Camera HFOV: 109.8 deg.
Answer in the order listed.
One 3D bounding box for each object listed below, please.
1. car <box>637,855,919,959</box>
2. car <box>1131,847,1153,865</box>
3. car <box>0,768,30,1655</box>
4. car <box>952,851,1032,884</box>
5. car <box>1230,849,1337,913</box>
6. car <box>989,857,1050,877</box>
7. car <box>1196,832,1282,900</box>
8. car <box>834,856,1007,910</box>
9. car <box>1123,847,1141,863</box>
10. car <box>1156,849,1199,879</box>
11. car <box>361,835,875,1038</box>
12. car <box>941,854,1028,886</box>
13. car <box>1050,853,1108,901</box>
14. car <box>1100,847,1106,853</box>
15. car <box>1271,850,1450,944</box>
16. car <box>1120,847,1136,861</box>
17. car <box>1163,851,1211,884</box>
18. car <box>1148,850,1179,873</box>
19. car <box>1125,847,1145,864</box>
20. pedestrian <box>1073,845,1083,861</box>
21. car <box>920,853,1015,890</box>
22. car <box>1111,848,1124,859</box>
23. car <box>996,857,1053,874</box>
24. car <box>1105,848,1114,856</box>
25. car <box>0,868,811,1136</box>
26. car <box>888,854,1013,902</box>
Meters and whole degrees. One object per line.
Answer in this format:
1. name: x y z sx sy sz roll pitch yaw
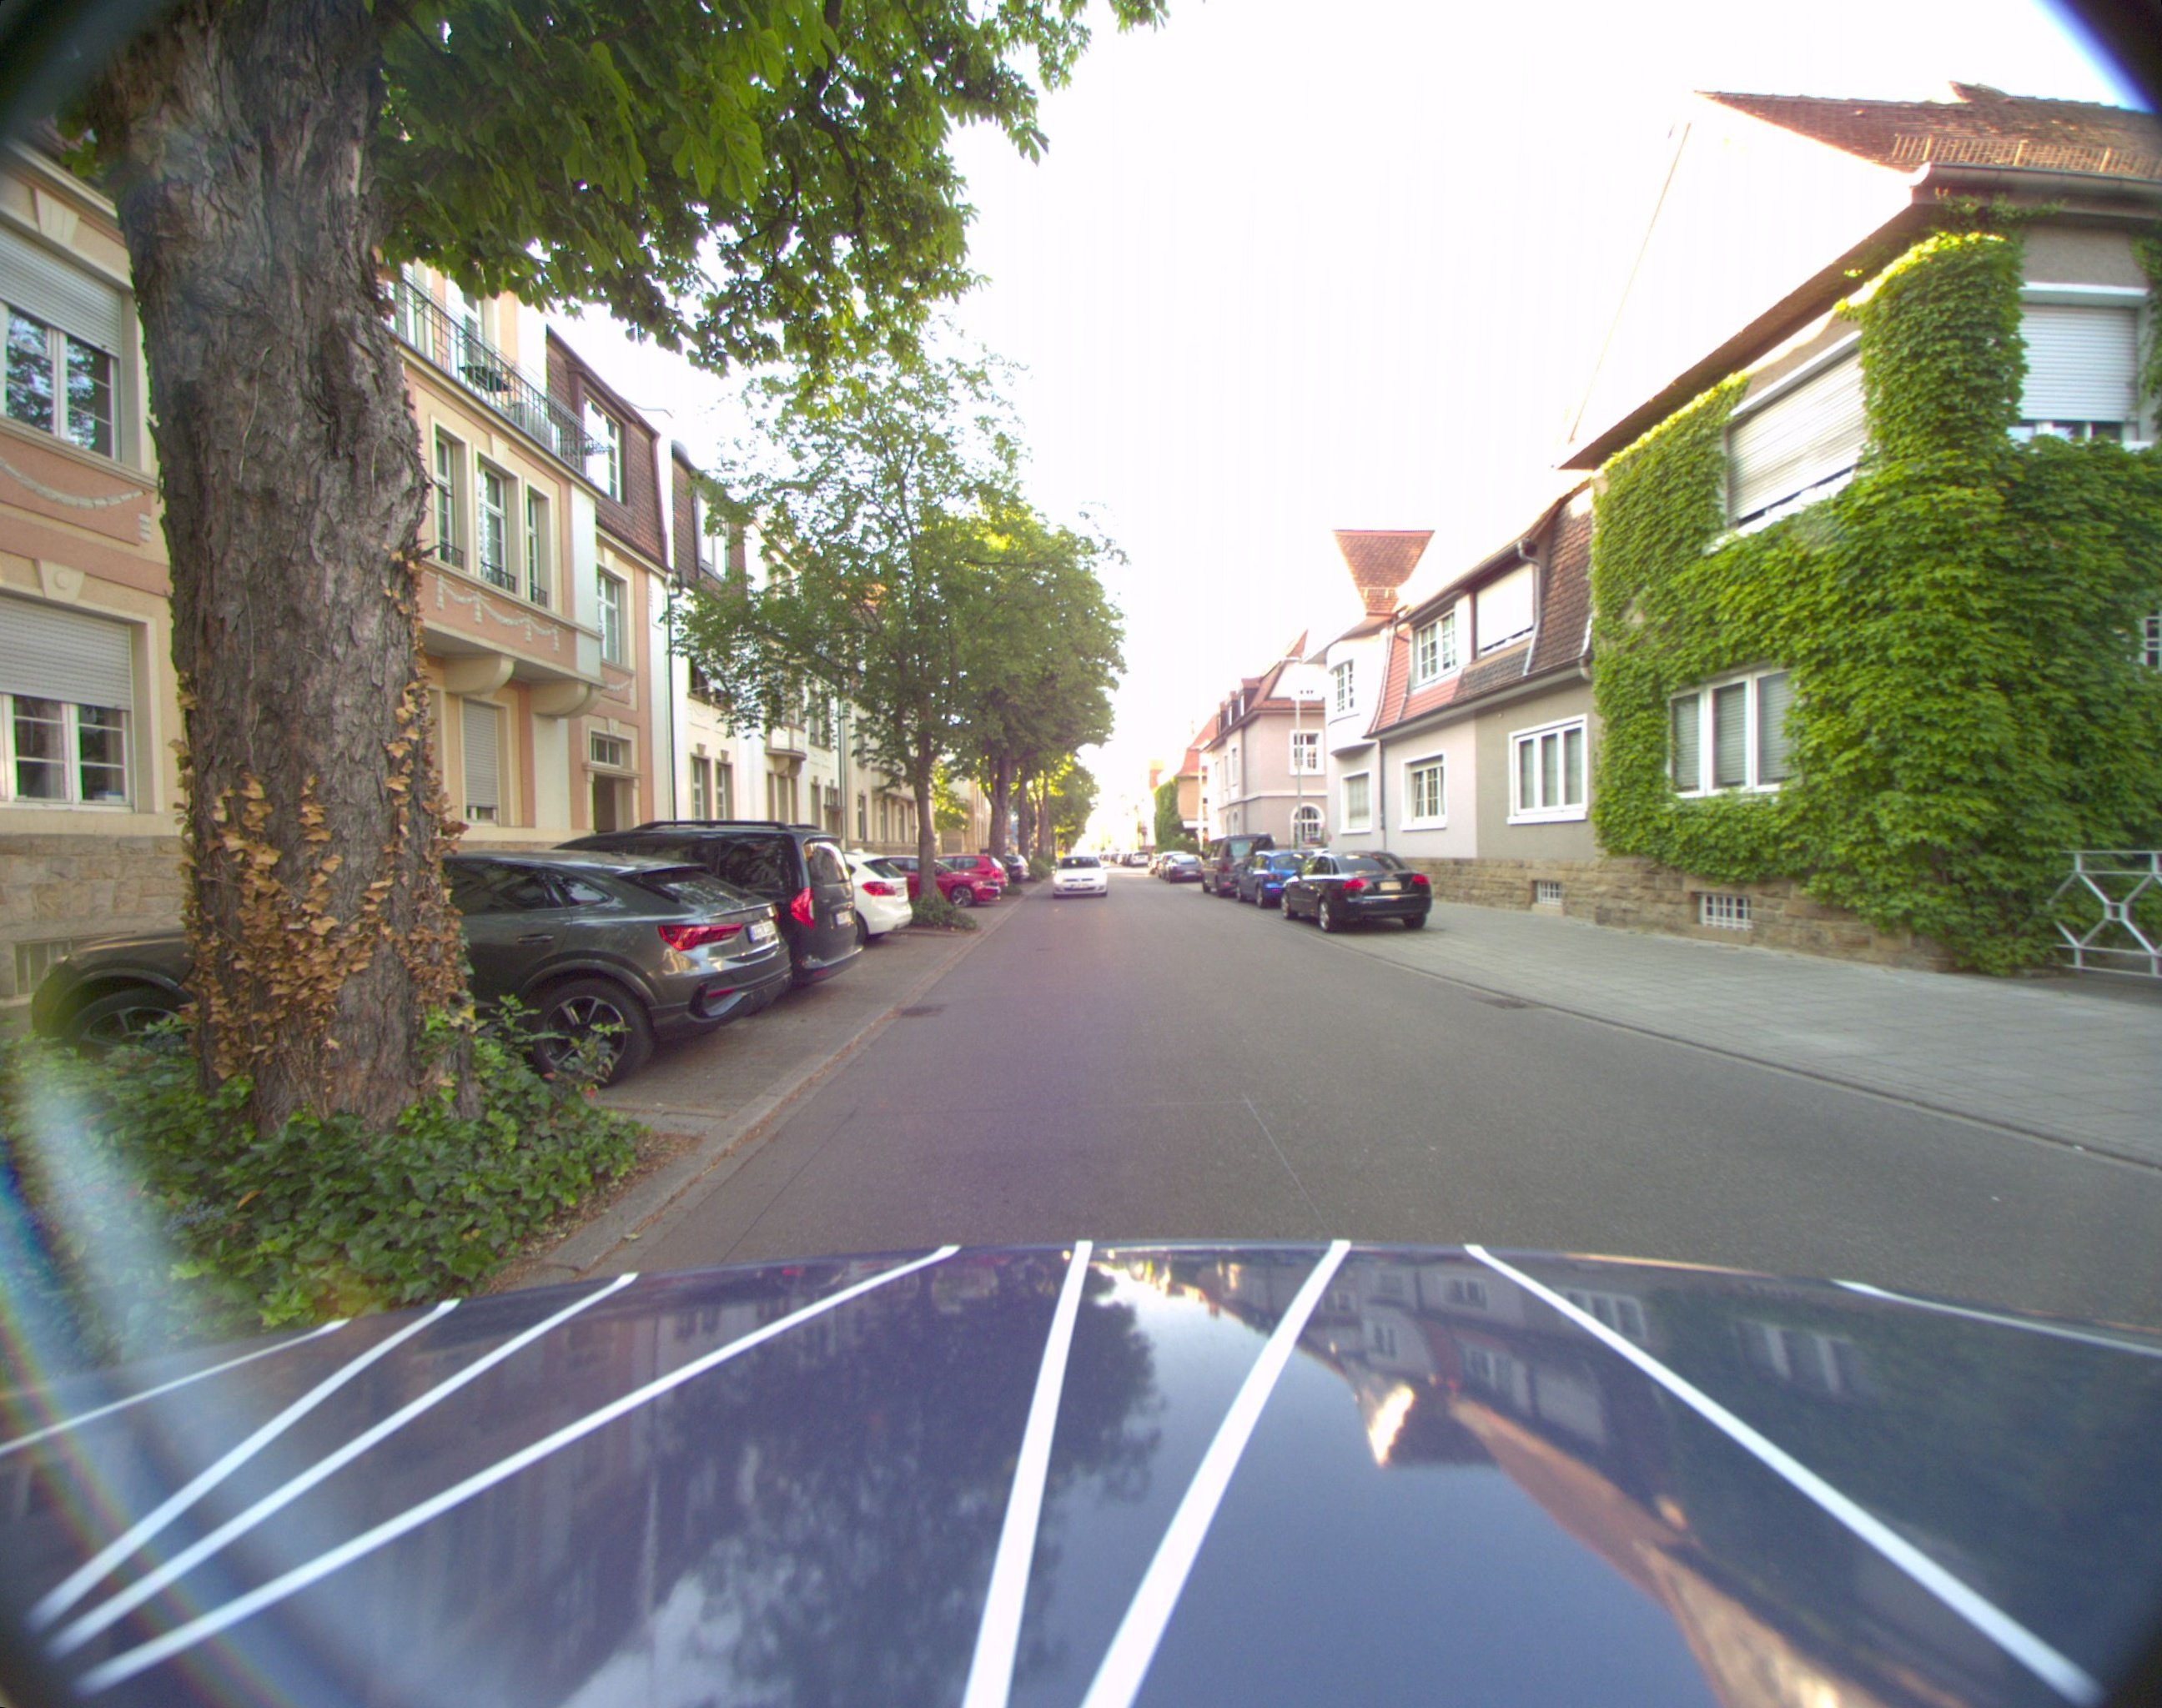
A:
1. car: -4.831 0.815 12.531 3.950 1.568 1.719 0 1 0
2. car: 5.419 0.156 68.006 1.699 1.558 3.677 -3 1 2
3. car: -4.594 0.767 0.520 4.763 1.864 1.896 0 1 -4
4. car: -4.282 0.624 36.838 3.680 1.548 1.576 0 1 2
5. car: 5.280 0.647 20.342 1.768 1.438 4.062 -3 1 0
6. car: -3.566 0.731 44.435 3.399 1.143 1.542 0 1 2
7. car: 5.144 0.356 25.353 1.842 1.964 4.612 -3 1 0
8. car: -4.535 0.798 21.937 4.530 1.443 1.867 0 1 3
9. car: 5.434 0.066 80.762 1.699 1.520 3.677 -3 1 2
10. car: 5.282 0.509 42.143 1.932 1.458 4.062 -3 1 2
11. car: -4.437 0.736 7.830 4.121 1.827 1.844 0 1 -2
12. car: -4.315 0.714 34.325 3.680 1.390 1.576 0 1 2
13. car: -0.027 0.719 26.207 1.819 1.454 4.072 -2 0 1
14. car: 5.835 -1.063 202.667 1.699 1.520 3.677 -3 1 2
15. car: 5.133 0.699 14.652 1.806 1.438 4.428 -3 1 0
16. car: 5.561 -0.040 91.008 1.699 1.520 3.677 -3 1 2
17. car: 5.060 0.598 36.666 1.932 1.376 4.063 -3 1 4
18. car: 5.438 0.476 50.383 1.662 1.354 3.677 -3 1 2
19. car: 5.333 0.124 75.271 1.699 1.520 3.677 -3 1 2
20. pedestrian: -0.404 -0.167 95.592 1.119 1.927 1.097 -3 1 -1
21. car: -4.679 0.710 31.709 3.680 1.457 1.576 0 1 2
22. car: 5.547 -0.134 115.861 1.699 1.520 3.677 -3 1 2
23. car: -3.517 0.725 47.641 3.399 1.057 1.542 0 1 2
24. car: 5.570 -0.462 149.119 1.699 1.520 3.677 -3 1 2
25. car: -4.539 0.893 5.506 4.522 1.514 1.844 0 1 -4
26. car: -4.140 0.750 24.465 3.680 1.473 1.659 0 1 3
